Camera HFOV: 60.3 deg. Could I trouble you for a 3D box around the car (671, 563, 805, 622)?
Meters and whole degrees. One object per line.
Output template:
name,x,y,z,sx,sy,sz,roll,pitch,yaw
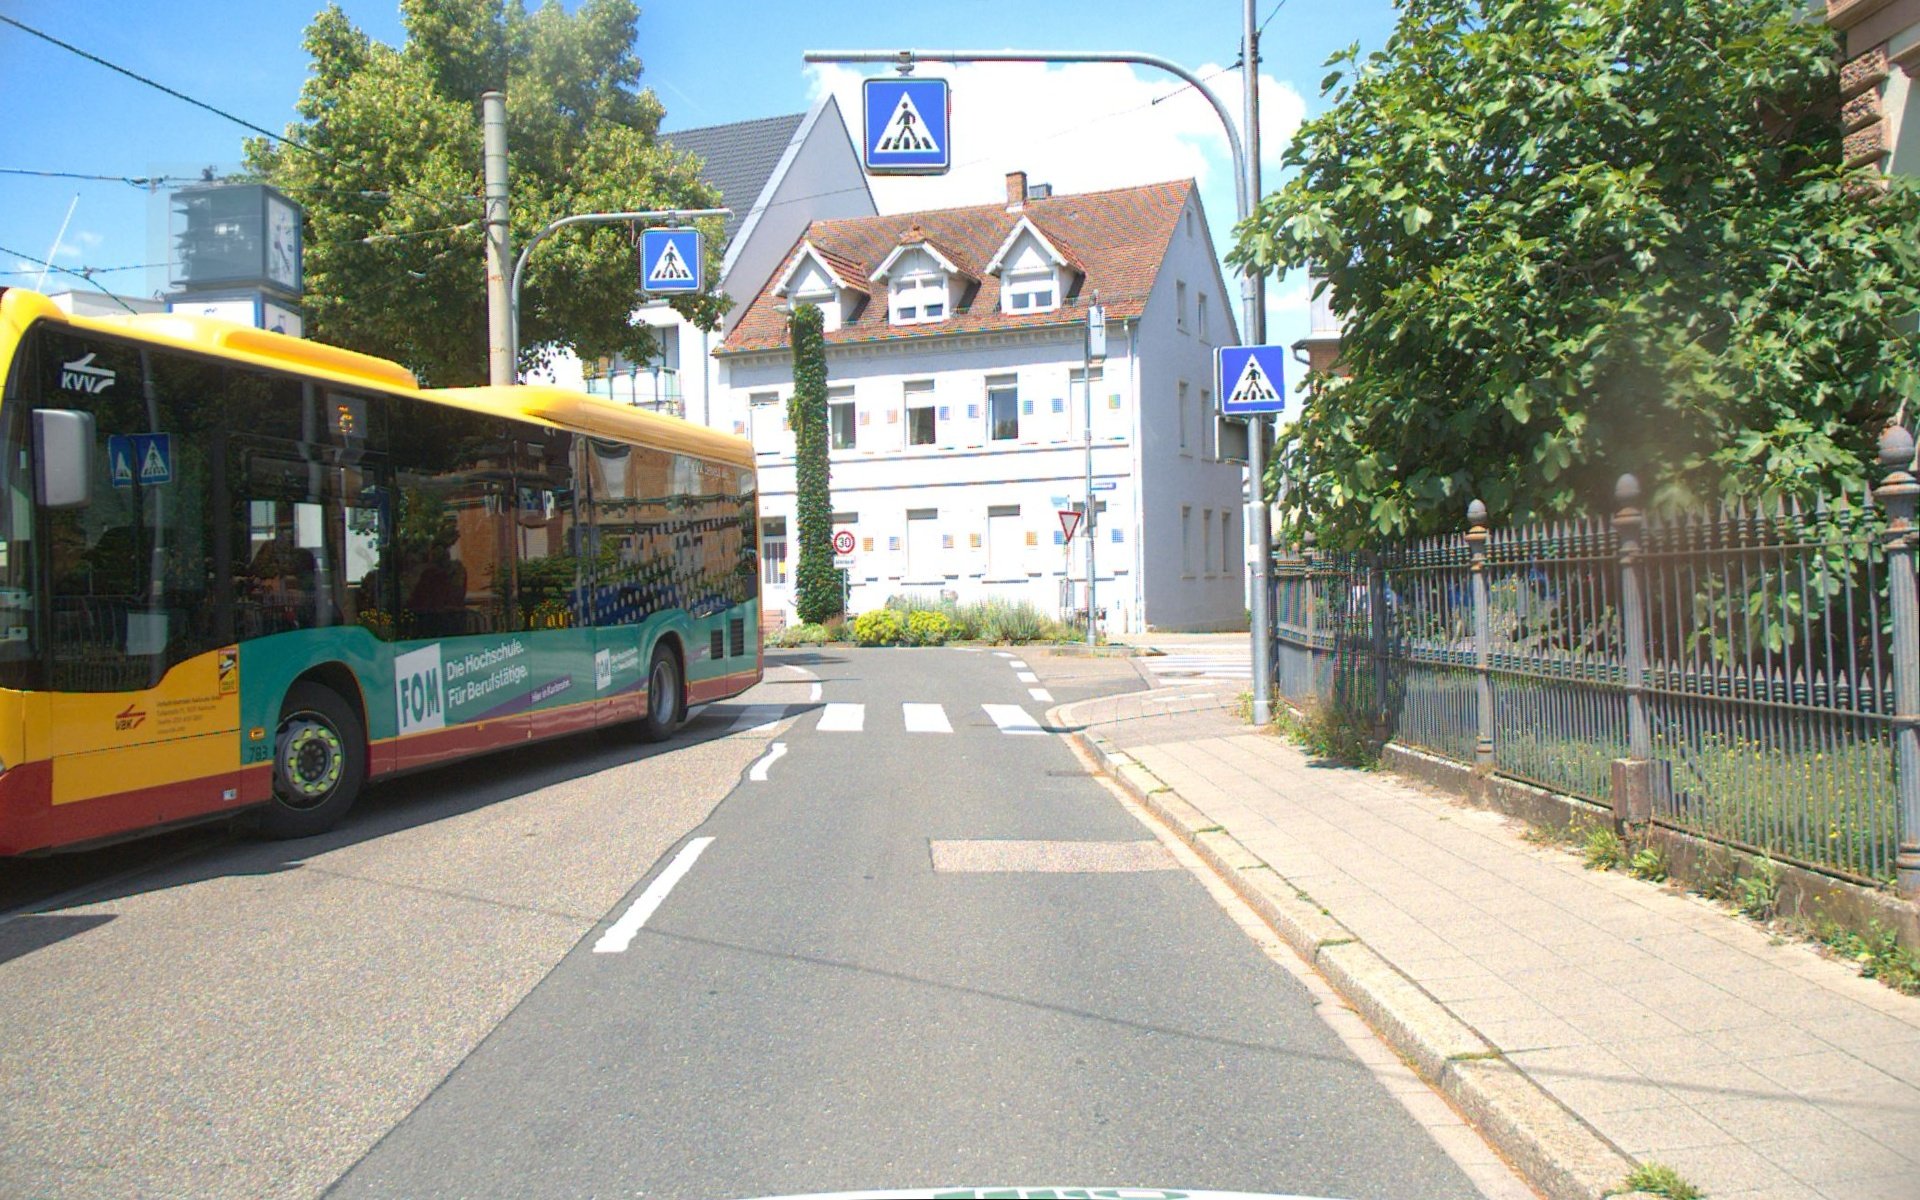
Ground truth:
car,-6.296,-0.184,46.802,3.538,1.614,1.581,0,-1,30

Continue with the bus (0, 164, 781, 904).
bus,-4.512,-0.410,13.476,2.720,3.264,12.318,0,1,10
